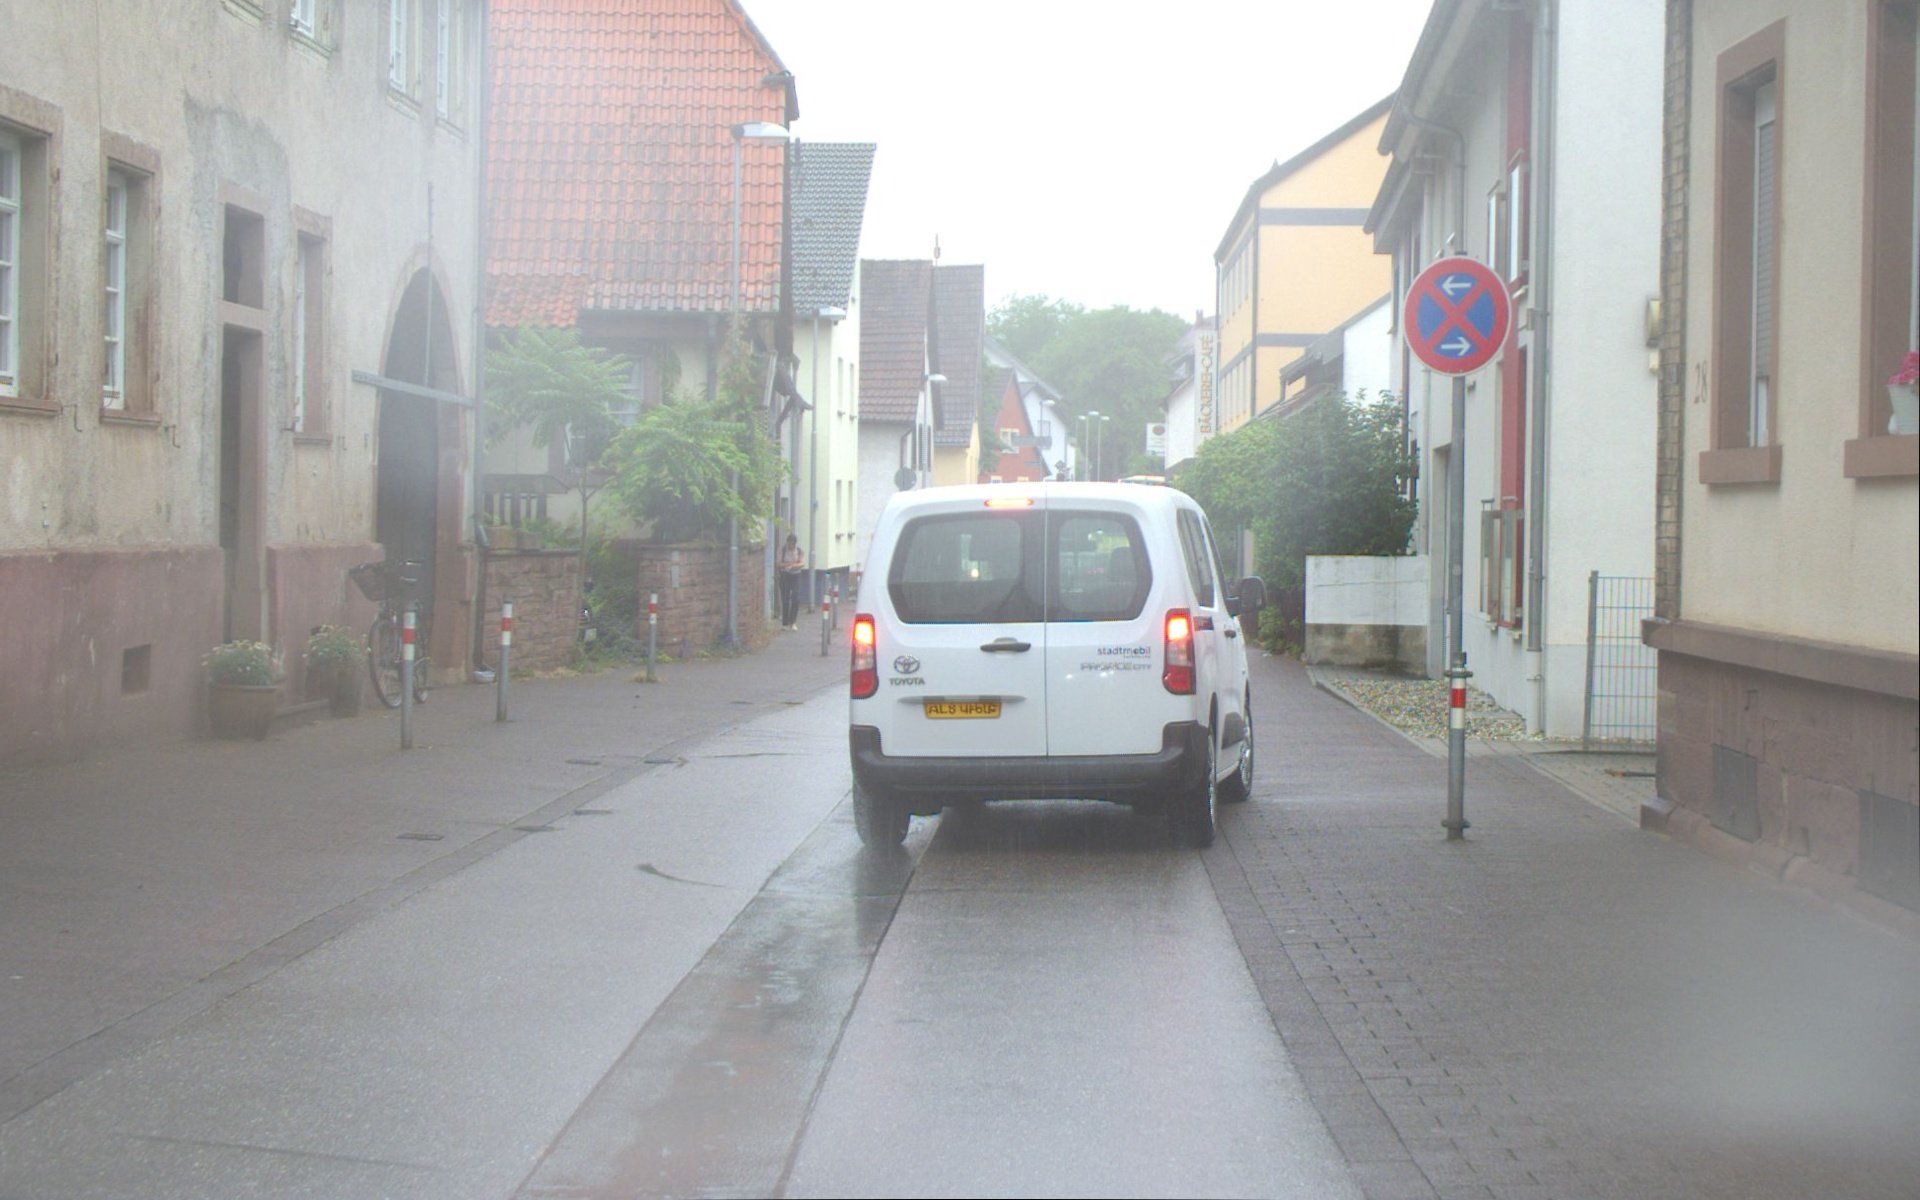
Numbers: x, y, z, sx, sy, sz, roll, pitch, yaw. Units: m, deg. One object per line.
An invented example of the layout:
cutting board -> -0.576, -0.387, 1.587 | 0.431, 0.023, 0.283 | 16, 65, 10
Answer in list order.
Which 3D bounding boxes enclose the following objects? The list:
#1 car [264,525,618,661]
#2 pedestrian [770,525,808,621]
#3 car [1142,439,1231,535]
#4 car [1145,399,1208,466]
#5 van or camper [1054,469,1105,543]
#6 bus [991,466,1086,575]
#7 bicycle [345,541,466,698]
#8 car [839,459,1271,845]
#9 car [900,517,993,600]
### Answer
car -> -5.641, -0.094, 37.580 | 3.528, 1.371, 1.594 | 1, 1, 5
pedestrian -> -2.746, -0.437, 55.249 | 0.567, 1.525, 0.569 | 0, 1, -7
car -> 5.066, -2.510, 77.273 | 1.827, 2.007, 3.694 | 2, 0, 2
car -> 7.321, -5.647, 116.264 | 1.994, 2.007, 3.999 | 2, 0, 4
van or camper -> 5.038, -3.923, 144.002 | 1.835, 2.915, 5.362 | 2, 0, 4
bus -> 2.639, -2.552, 113.381 | 2.793, 3.317, 8.177 | 3, 1, 2
bicycle -> -4.362, 0.144, 27.133 | 0.483, 1.176, 1.835 | 2, 0, 4
car -> 0.623, 0.232, 18.287 | 1.795, 1.812, 4.100 | 0, 0, 9
car -> -0.304, -1.030, 86.519 | 1.892, 1.960, 4.722 | 2, 0, 4
